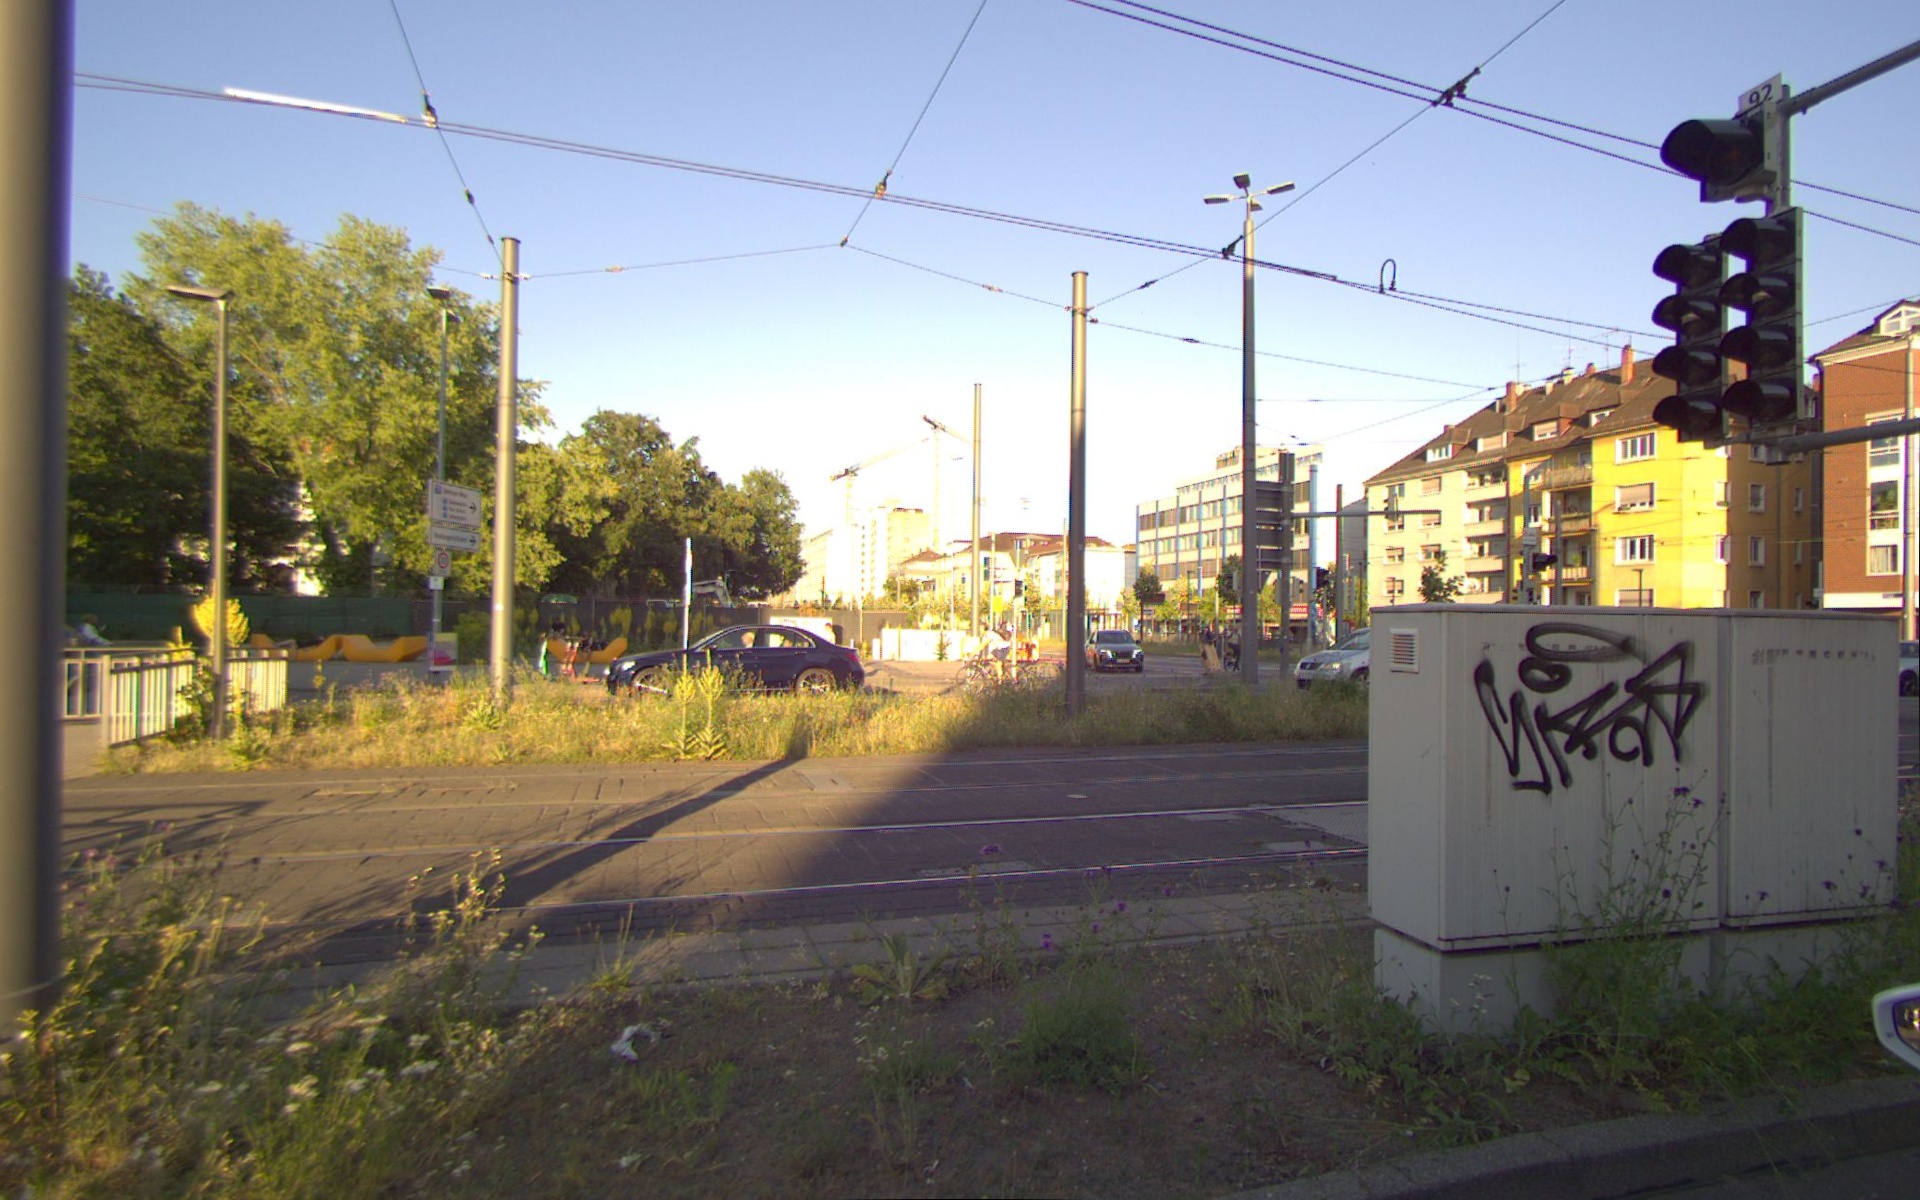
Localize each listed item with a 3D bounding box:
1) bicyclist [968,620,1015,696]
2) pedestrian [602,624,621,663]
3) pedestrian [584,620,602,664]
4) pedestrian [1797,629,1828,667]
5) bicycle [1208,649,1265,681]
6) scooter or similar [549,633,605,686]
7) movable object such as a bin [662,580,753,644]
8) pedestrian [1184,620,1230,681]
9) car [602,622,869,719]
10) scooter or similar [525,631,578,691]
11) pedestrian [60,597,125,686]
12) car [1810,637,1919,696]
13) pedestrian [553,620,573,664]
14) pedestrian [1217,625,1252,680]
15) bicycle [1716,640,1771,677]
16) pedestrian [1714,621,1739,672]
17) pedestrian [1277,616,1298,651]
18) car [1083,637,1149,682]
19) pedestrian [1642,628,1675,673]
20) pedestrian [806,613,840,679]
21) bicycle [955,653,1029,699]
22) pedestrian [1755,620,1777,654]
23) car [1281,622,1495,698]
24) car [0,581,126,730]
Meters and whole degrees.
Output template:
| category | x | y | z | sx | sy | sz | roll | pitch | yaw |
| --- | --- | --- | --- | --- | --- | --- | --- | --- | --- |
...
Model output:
| category | x | y | z | sx | sy | sz | roll | pitch | yaw |
| --- | --- | --- | --- | --- | --- | --- | --- | --- | --- |
| bicyclist | 0.717 | 1.317 | 22.896 | 0.961 | 1.711 | 0.664 | 1 | -1 | -8 |
| pedestrian | -13.583 | 1.690 | 39.169 | 0.615 | 1.515 | 0.640 | 1 | -1 | -15 |
| pedestrian | -14.179 | 1.605 | 38.811 | 0.591 | 1.680 | 0.533 | 1 | -1 | -22 |
| pedestrian | 43.542 | 2.444 | 51.307 | 0.827 | 1.893 | 0.938 | 1 | 1 | -23 |
| bicycle | 9.887 | 2.303 | 35.974 | 0.883 | 1.074 | 1.997 | 1 | -1 | -25 |
| scooter or similar | -9.650 | 1.485 | 25.346 | 0.509 | 1.289 | 1.252 | 0 | -2 | 35 |
| movable object such as a bin | -13.313 | 0.655 | 53.096 | 4.258 | 3.272 | 2.000 | 1 | -1 | 0 |
| pedestrian | 8.263 | 1.678 | 33.615 | 1.014 | 1.970 | 1.090 | 1 | -2 | -33 |
| car | -4.094 | 1.228 | 18.304 | 4.516 | 1.606 | 1.992 | 1 | -2 | -19 |
| scooter or similar | -10.374 | 1.525 | 25.527 | 0.507 | 1.465 | 1.256 | 0 | -2 | 22 |
| pedestrian | -19.043 | 0.905 | 22.055 | 0.750 | 1.918 | 0.730 | 0 | -1 | 9 |
| car | 25.039 | 1.732 | 26.607 | 4.128 | 1.467 | 1.671 | 1 | -1 | -12 |
| pedestrian | -15.441 | 1.633 | 39.075 | 0.594 | 1.680 | 0.531 | 1 | -2 | -34 |
| pedestrian | 9.862 | 1.870 | 36.081 | 0.883 | 1.936 | 0.841 | 1 | -1 | -25 |
| bicycle | 29.774 | 2.225 | 38.172 | 1.984 | 1.343 | 0.617 | 1 | 1 | -19 |
| pedestrian | 29.490 | 1.783 | 38.631 | 0.554 | 1.893 | 0.501 | 1 | 1 | -20 |
| pedestrian | 18.021 | 1.834 | 55.289 | 0.876 | 1.892 | 0.714 | 1 | -2 | -34 |
| car | 6.143 | 2.316 | 39.956 | 1.960 | 1.639 | 4.567 | 0 | -1 | 1 |
| pedestrian | 30.503 | 2.214 | 43.902 | 0.924 | 1.893 | 0.839 | 1 | 1 | 16 |
| pedestrian | -3.991 | 1.326 | 29.329 | 0.958 | 1.892 | 0.884 | 1 | -1 | -7 |
| bicycle | 0.722 | 1.719 | 22.876 | 1.593 | 1.022 | 0.667 | 1 | -1 | -8 |
| pedestrian | 45.139 | 2.056 | 56.233 | 0.657 | 1.893 | 0.799 | 1 | 1 | -36 |
| car | 9.562 | 1.328 | 22.578 | 4.041 | 1.606 | 1.996 | 1 | -2 | -12 |
| car | -13.927 | 0.705 | 12.982 | 4.771 | 1.926 | 1.977 | 2 | -2 | -40 |
